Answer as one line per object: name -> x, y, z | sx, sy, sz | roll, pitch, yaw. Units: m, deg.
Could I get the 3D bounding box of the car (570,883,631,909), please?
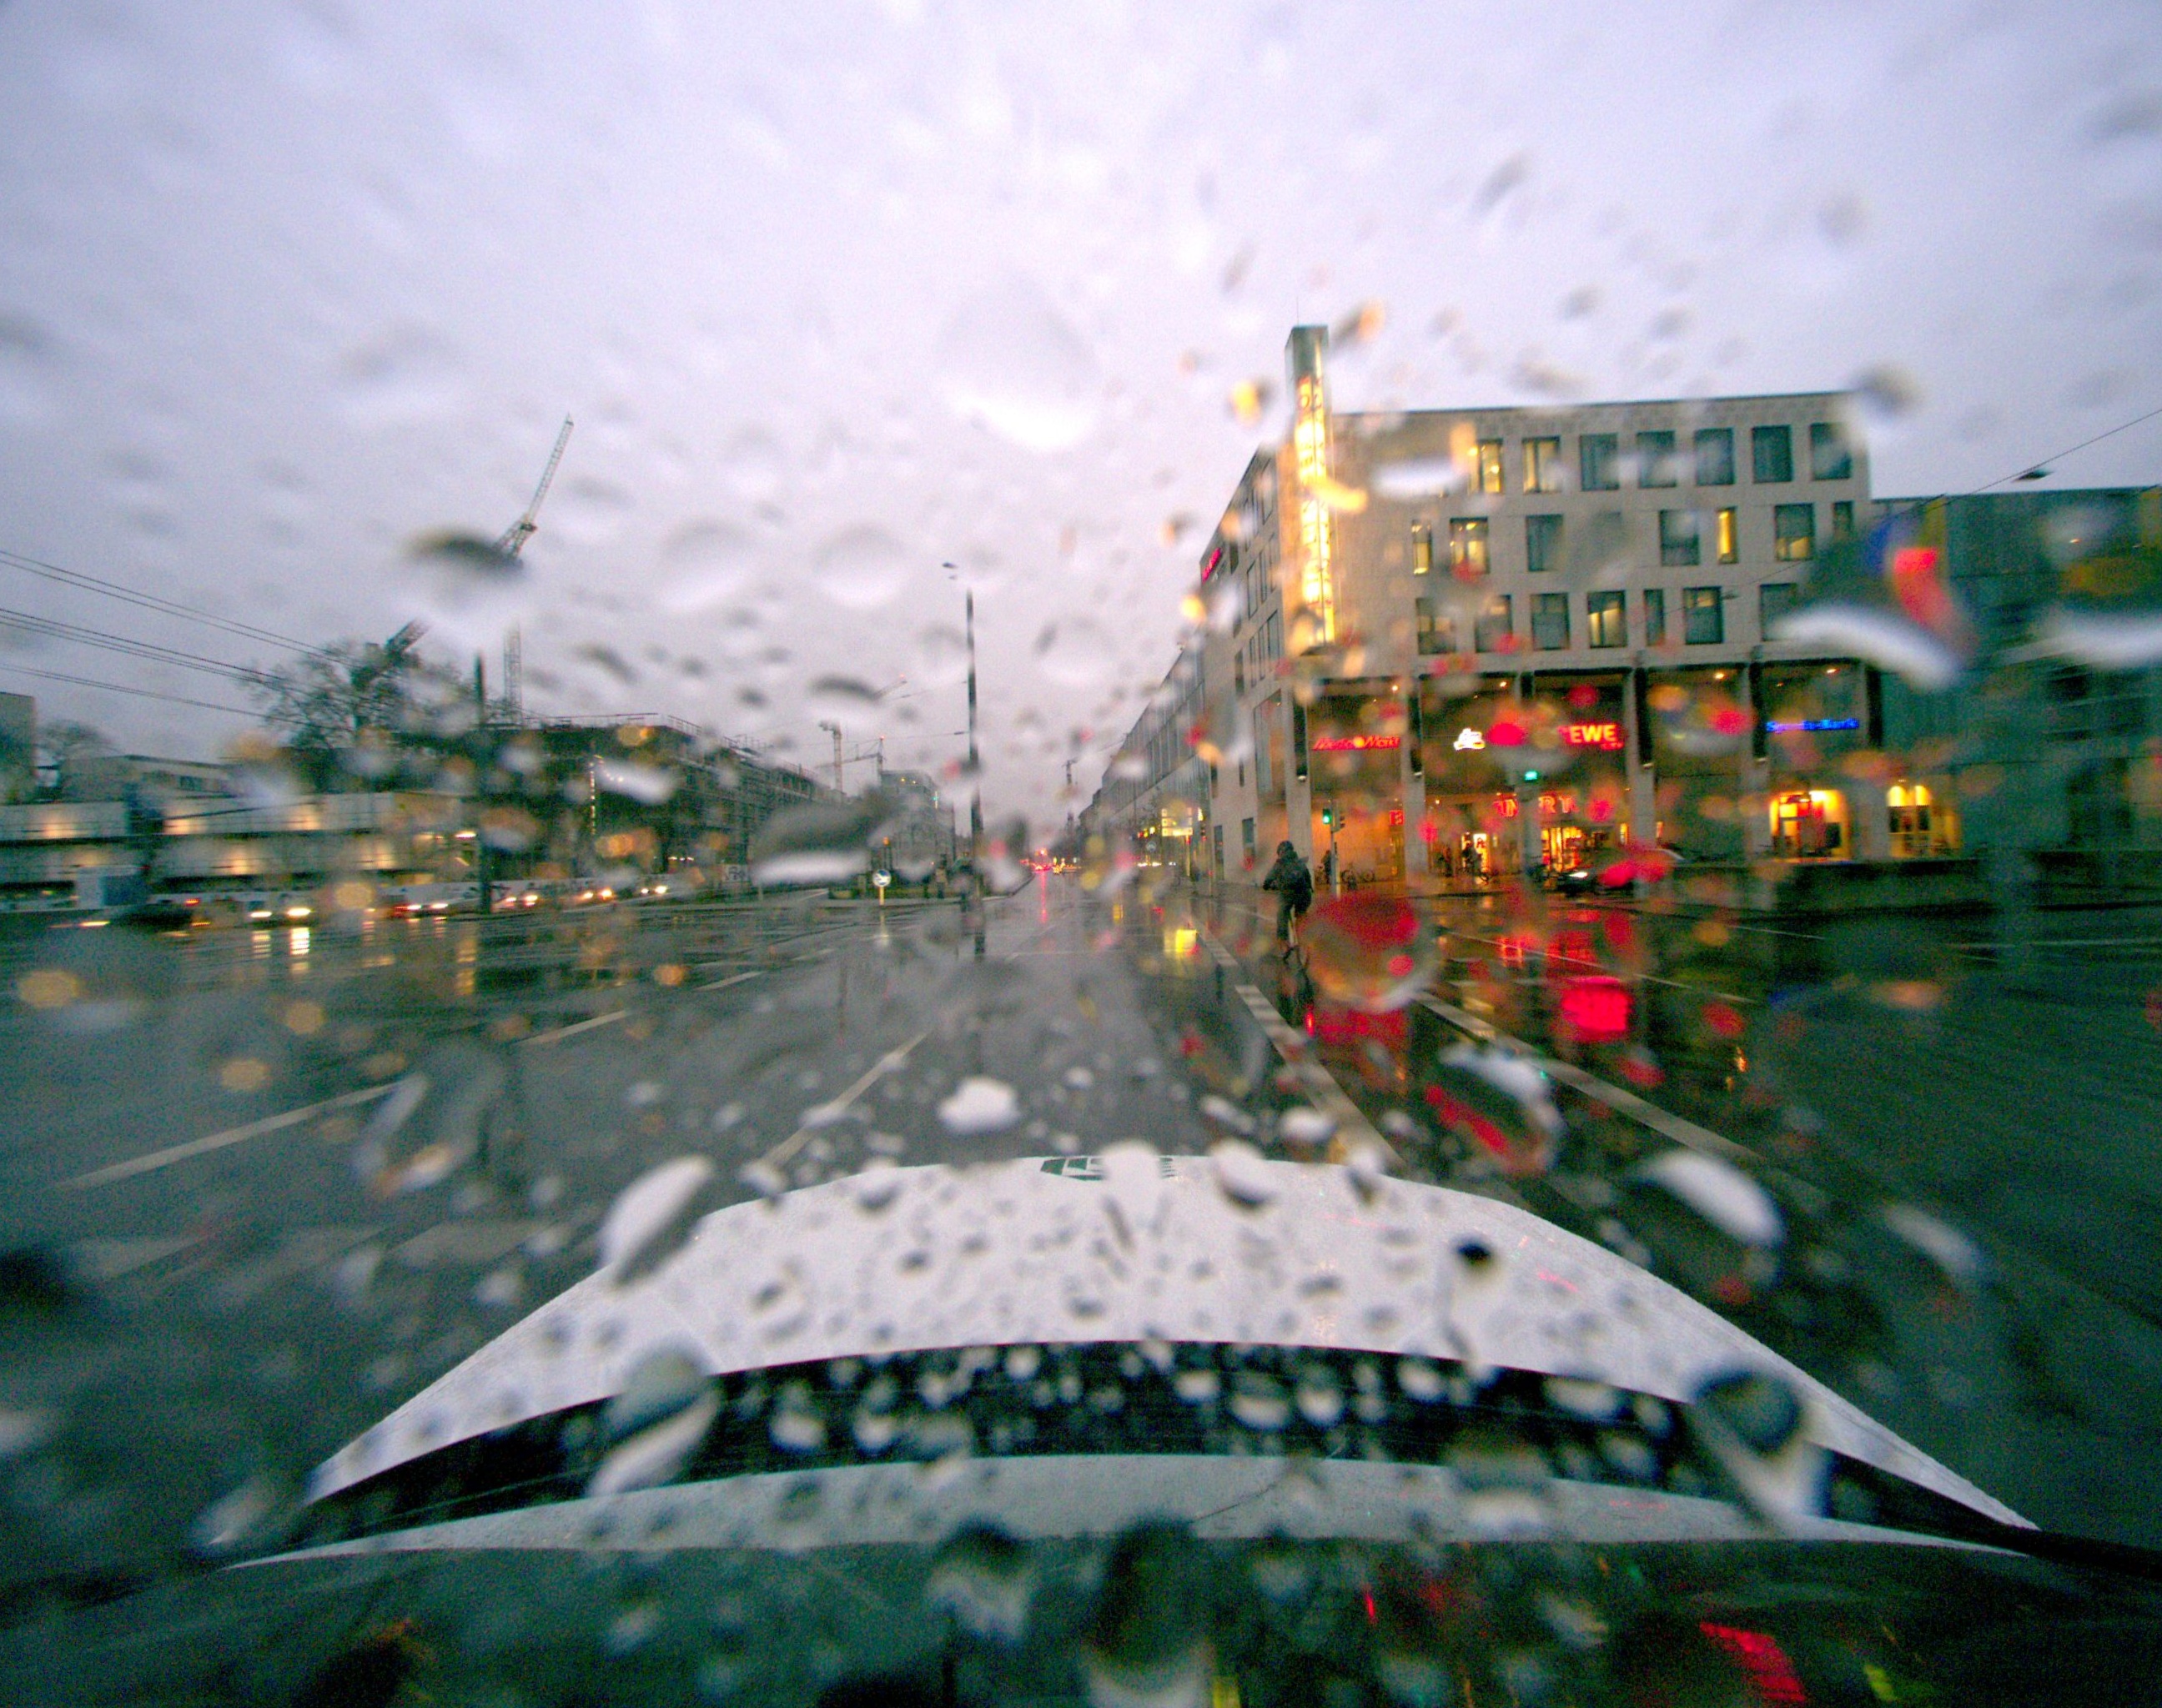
car -> -36.572, 3.190, 62.105 | 1.983, 1.790, 4.006 | -1, -1, 6

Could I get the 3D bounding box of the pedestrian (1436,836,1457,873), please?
pedestrian -> 20.091, 0.044, 44.821 | 0.841, 2.014, 0.700 | -2, -1, 9

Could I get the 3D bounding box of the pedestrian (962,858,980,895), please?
pedestrian -> -5.158, 1.043, 38.180 | 0.605, 1.686, 0.582 | -2, -2, 42

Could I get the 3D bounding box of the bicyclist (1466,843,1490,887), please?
bicyclist -> 18.615, 0.525, 38.206 | 0.913, 2.014, 0.912 | -2, -1, 23

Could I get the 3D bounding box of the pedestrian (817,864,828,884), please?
pedestrian -> -26.556, 2.024, 83.820 | 0.942, 2.014, 1.090 | 0, -1, -11

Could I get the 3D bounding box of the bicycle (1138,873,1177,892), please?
bicycle -> 4.952, 1.852, 52.961 | 2.418, 1.099, 0.711 | -2, -1, -2

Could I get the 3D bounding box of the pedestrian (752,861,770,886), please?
pedestrian -> -26.070, 1.573, 66.340 | 0.938, 2.014, 1.095 | -1, -1, 3

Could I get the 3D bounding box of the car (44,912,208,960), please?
car -> -39.049, 3.326, 33.461 | 1.987, 1.530, 3.999 | -2, -1, 0

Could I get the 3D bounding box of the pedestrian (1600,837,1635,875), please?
pedestrian -> 24.162, 0.107, 36.705 | 1.026, 1.684, 0.824 | -1, -1, 0

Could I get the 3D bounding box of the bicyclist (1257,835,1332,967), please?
bicyclist -> 2.824, 0.597, 10.881 | 0.700, 1.660, 0.964 | -2, 0, 0

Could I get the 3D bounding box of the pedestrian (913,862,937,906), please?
pedestrian -> -7.264, 1.379, 37.927 | 0.776, 2.014, 0.732 | -2, -2, 42

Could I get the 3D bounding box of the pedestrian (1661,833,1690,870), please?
pedestrian -> 27.954, -0.105, 38.327 | 0.890, 1.684, 0.528 | -2, -2, 0

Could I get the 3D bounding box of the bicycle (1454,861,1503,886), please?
bicycle -> 18.624, 0.921, 38.205 | 1.943, 1.086, 0.931 | -2, -1, 21

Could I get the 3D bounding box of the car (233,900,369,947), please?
car -> -33.559, 2.966, 35.211 | 1.987, 1.657, 3.999 | -2, -1, 0

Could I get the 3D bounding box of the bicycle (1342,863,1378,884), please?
bicycle -> 14.143, 0.977, 41.343 | 1.643, 1.070, 0.524 | -1, -1, -4

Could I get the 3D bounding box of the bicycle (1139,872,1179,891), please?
bicycle -> 5.006, 1.755, 52.197 | 2.435, 1.154, 0.674 | -2, -1, -1

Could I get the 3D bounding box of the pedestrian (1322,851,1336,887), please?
pedestrian -> 12.260, 0.728, 40.279 | 0.596, 1.745, 0.526 | -1, -1, 8

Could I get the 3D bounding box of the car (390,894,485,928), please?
car -> -35.459, 3.094, 45.041 | 2.075, 1.530, 4.601 | -2, -1, -9

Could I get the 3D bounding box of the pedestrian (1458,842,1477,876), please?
pedestrian -> 19.734, 0.248, 41.584 | 0.728, 1.718, 0.743 | -3, -1, 28

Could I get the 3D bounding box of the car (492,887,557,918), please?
car -> -36.450, 3.131, 53.475 | 1.863, 1.828, 3.991 | 0, -1, -6

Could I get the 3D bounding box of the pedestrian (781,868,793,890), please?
pedestrian -> -25.237, 2.168, 69.947 | 0.763, 1.898, 0.762 | -1, -2, 0

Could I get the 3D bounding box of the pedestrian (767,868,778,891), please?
pedestrian -> -25.623, 2.102, 67.547 | 0.696, 1.881, 0.553 | -1, -1, -1

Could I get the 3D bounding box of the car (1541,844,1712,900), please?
car -> 16.824, 0.560, 25.274 | 3.972, 1.618, 2.000 | -1, -1, 1

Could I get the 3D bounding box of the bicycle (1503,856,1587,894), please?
bicycle -> 17.992, 0.815, 31.637 | 2.707, 1.359, 0.956 | -2, -1, -4

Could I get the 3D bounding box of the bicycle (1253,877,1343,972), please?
bicycle -> 2.839, 0.888, 10.826 | 0.706, 1.094, 1.784 | -1, 0, 0

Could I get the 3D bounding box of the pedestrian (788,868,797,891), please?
pedestrian -> -25.208, 2.228, 71.143 | 0.569, 1.968, 0.664 | 1, -1, -5

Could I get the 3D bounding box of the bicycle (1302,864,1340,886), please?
bicycle -> 12.148, 1.065, 41.207 | 1.766, 1.070, 0.523 | 0, -1, -8

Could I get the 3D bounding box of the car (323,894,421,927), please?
car -> -40.021, 3.146, 46.139 | 1.991, 1.530, 4.328 | -2, -1, -6

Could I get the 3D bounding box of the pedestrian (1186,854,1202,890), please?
pedestrian -> 5.494, 0.874, 39.704 | 0.634, 1.709, 0.573 | -2, -1, -1

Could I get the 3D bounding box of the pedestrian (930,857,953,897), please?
pedestrian -> -6.359, 1.040, 37.113 | 0.826, 1.831, 0.778 | 0, -1, -30
